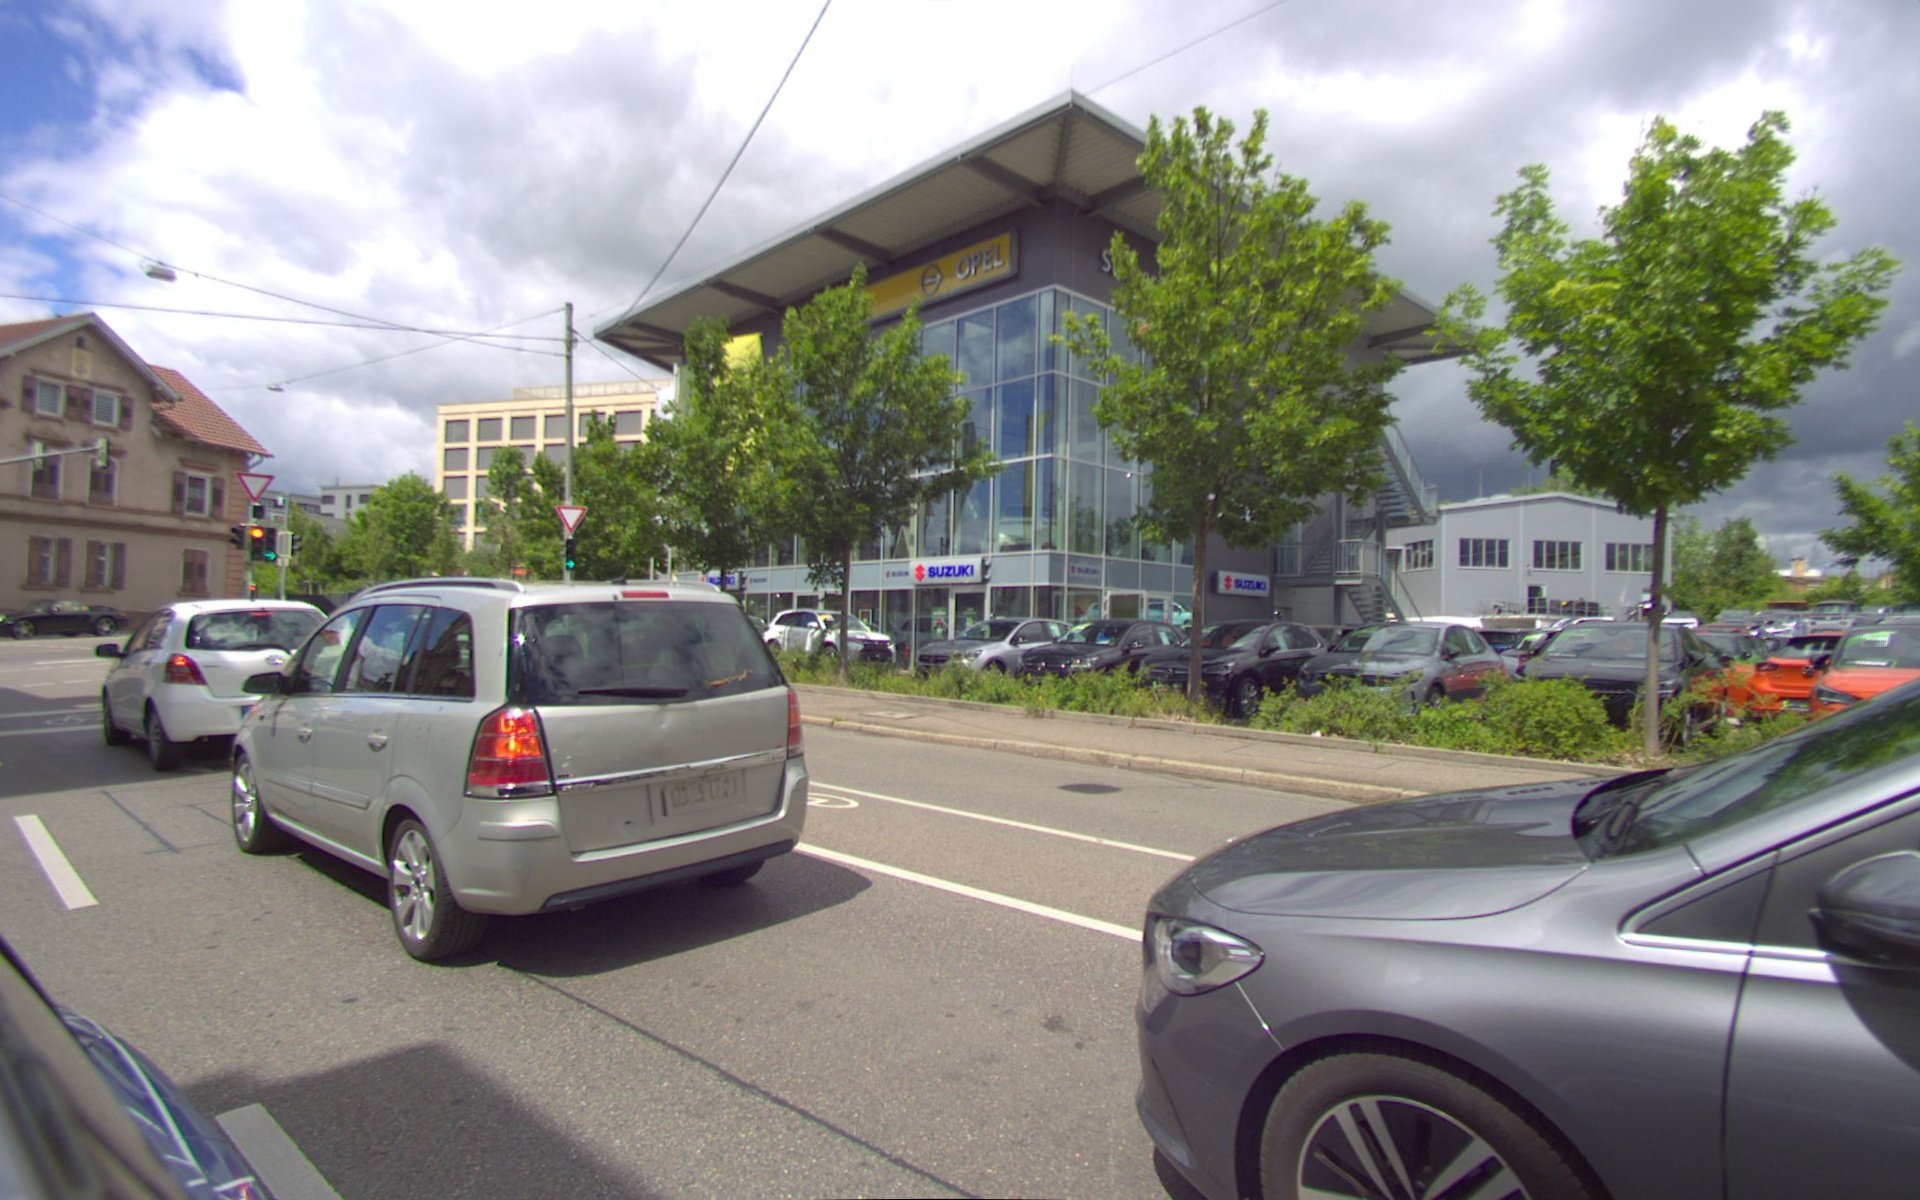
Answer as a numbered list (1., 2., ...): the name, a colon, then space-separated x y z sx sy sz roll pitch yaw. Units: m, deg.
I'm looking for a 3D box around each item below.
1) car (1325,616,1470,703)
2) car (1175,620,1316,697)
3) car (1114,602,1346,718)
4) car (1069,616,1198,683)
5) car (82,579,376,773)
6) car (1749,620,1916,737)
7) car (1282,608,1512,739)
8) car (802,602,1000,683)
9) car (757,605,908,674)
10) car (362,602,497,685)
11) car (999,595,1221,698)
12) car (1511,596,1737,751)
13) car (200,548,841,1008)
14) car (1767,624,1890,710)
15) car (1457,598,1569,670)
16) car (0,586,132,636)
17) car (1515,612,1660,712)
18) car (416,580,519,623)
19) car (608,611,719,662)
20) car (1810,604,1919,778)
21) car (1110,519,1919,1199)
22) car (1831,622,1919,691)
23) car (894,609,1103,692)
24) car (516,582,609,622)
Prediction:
1. car: 7.747 1.024 17.811 1.516 1.384 3.283 -2 -3 39
2. car: 5.672 1.129 19.928 1.516 1.384 3.283 -2 -3 39
3. car: 4.221 0.882 15.386 1.811 1.509 4.235 -2 -3 40
4. car: 3.889 1.086 22.423 1.517 1.384 2.979 -2 -3 40
5. car: -7.551 0.612 10.301 4.000 1.593 1.700 0 1 43
6. car: 11.730 1.004 13.741 1.516 1.384 3.283 -2 -3 39
7. car: 6.048 0.939 13.769 1.811 1.509 4.014 -2 -3 40
8. car: -1.144 0.894 20.995 1.813 1.509 3.943 -2 -3 43
9. car: -3.337 0.940 26.055 1.919 1.574 4.000 0 1 -42
10. car: -11.165 0.854 21.146 1.696 1.508 4.473 4 -2 -37
11. car: 2.638 0.780 17.040 1.811 1.509 4.164 -2 -3 40
12. car: 7.970 0.815 11.996 1.811 1.509 3.941 -2 -3 39
13. car: -2.708 0.602 5.613 4.319 1.593 1.700 0 1 43
14. car: 15.467 1.167 18.141 1.516 1.384 3.283 -2 -3 39
15. car: 11.740 0.740 21.409 1.516 1.384 3.283 -2 -3 39
16. car: -29.722 0.321 32.672 1.981 1.477 4.310 0 2 15
17. car: 9.860 0.944 15.809 1.516 1.384 3.283 -2 -3 39
18. car: -24.653 0.033 50.880 1.982 2.026 4.792 0 2 16
19. car: -9.700 1.127 32.878 1.918 1.485 4.314 0 1 -40
20. car: 9.714 0.858 10.090 1.811 1.509 3.788 -2 -3 39
21. car: 2.469 0.681 1.513 4.251 1.593 1.700 0 1 43
22. car: 29.039 1.700 31.938 3.940 1.824 2.002 -2 2 -44
23. car: 0.822 0.960 19.304 1.813 1.405 4.022 -2 -3 43
24. car: -20.683 0.060 52.888 1.981 2.008 4.966 0 1 15
